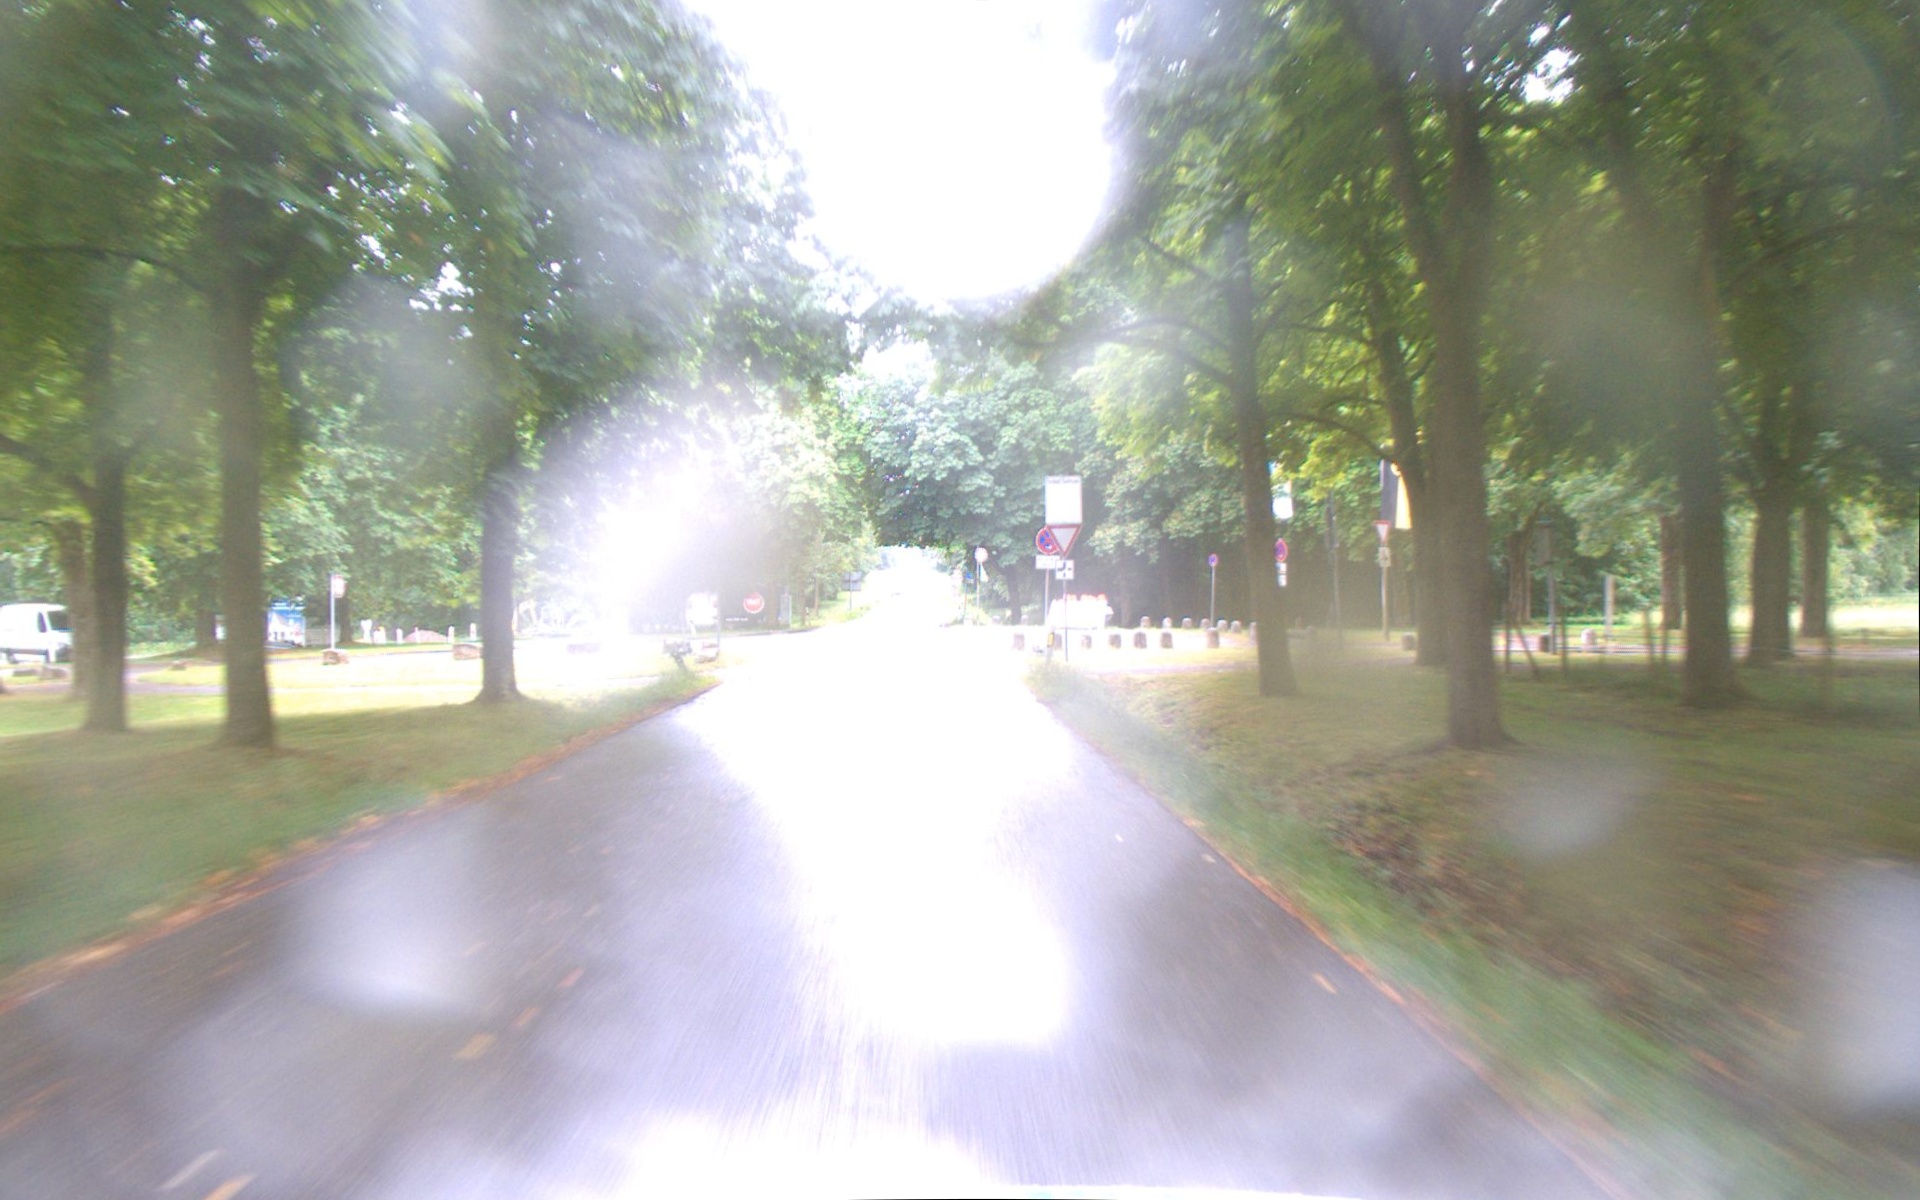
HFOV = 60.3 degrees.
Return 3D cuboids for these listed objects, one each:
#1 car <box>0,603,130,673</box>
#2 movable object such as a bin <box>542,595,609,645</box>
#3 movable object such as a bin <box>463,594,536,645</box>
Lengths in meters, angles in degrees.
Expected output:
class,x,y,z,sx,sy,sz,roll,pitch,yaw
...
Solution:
class,x,y,z,sx,sy,sz,roll,pitch,yaw
car,-33.025,1.423,60.823,5.872,2.450,2.380,-2,-2,40
movable object such as a bin,-27.144,1.400,116.905,4.502,3.351,3.654,-2,0,-13
movable object such as a bin,-32.016,1.327,115.119,4.574,3.351,3.901,-2,0,-13
